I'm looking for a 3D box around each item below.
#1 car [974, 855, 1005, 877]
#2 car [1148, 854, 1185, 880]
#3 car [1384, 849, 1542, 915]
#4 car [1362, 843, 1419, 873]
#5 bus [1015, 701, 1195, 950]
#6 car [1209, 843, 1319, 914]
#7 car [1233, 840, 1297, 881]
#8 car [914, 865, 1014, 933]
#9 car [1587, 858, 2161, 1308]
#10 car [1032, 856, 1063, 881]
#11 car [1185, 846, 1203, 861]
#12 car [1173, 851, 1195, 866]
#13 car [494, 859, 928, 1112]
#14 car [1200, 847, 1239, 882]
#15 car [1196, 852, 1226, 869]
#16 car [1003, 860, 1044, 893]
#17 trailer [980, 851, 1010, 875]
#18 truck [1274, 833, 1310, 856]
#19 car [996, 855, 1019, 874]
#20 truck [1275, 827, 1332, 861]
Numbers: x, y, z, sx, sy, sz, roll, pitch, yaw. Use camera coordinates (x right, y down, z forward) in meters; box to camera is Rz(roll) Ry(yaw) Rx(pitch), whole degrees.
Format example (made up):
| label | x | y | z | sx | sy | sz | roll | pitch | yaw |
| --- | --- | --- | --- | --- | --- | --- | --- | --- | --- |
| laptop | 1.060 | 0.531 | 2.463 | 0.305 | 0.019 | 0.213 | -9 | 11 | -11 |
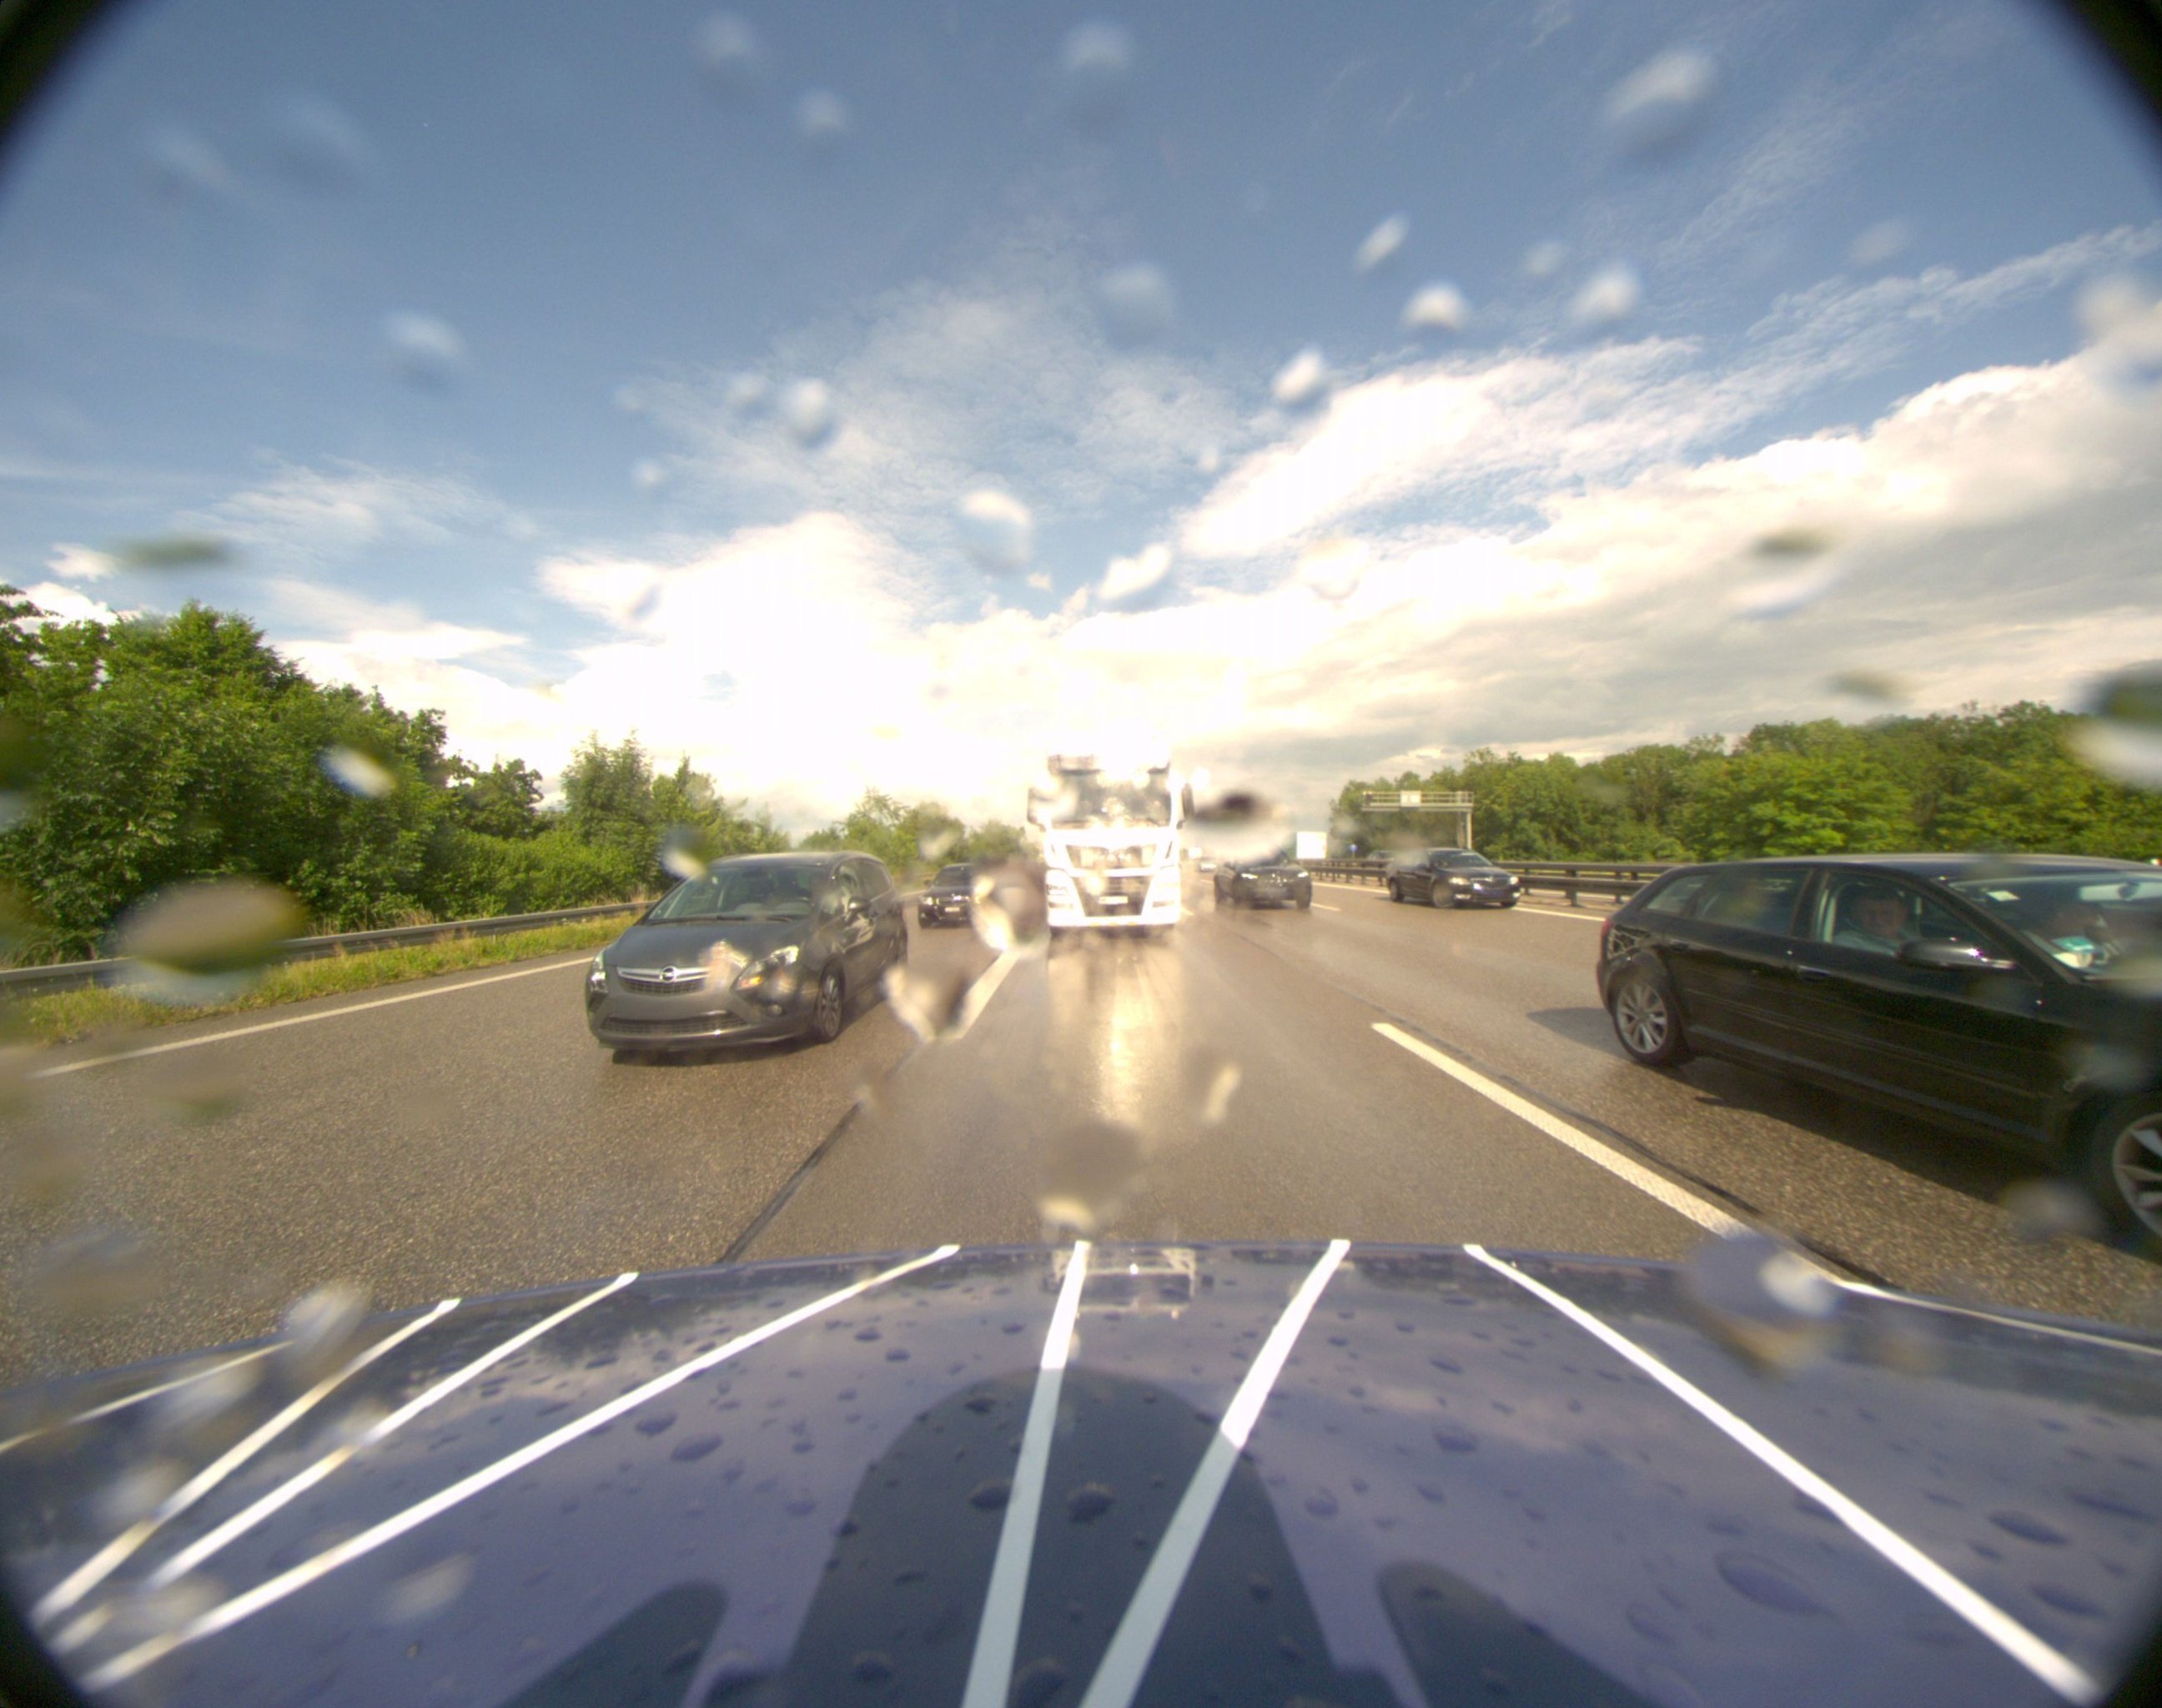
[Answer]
| label | x | y | z | sx | sy | sz | roll | pitch | yaw |
| --- | --- | --- | --- | --- | --- | --- | --- | --- | --- |
| car | -6.562 | 0.824 | 54.810 | 1.748 | 1.422 | 4.403 | -2 | 0 | -2 |
| car | 5.085 | 0.743 | 45.508 | 1.809 | 1.389 | 4.240 | -1 | 0 | 1 |
| car | 9.354 | 0.614 | 19.042 | 1.924 | 1.416 | 4.373 | -2 | 0 | 3 |
| car | 17.018 | 0.208 | 41.946 | 1.824 | 1.565 | 3.316 | -2 | 0 | 1 |
| bus | 0.479 | -0.491 | 17.781 | 2.904 | 4.104 | 9.845 | -2 | 0 | 1 |
| car | 4.817 | 0.585 | 20.665 | 1.881 | 1.669 | 4.626 | -2 | 0 | 1 |
| car | 9.432 | 0.299 | 39.435 | 1.998 | 1.906 | 5.235 | -2 | 0 | 0 |
| car | -2.689 | 1.003 | 18.298 | 1.722 | 1.346 | 3.884 | -2 | 0 | 1 |
| car | 4.483 | 0.772 | 3.428 | 1.754 | 1.425 | 4.054 | -2 | 0 | 1 |
| car | -2.150 | 0.906 | 49.336 | 1.858 | 1.434 | 3.999 | -2 | 0 | -1 |
| car | 19.506 | -0.101 | 131.078 | 2.119 | 2.382 | 6.102 | -2 | 0 | 0 |
| car | 10.156 | 0.392 | 75.116 | 1.618 | 1.412 | 4.000 | -2 | 0 | 1 |
| car | -2.998 | 0.919 | 7.539 | 1.858 | 1.622 | 4.736 | -2 | 0 | 1 |
| car | 6.809 | 0.494 | 37.630 | 1.409 | 1.588 | 2.830 | -2 | 0 | 1 |
| car | 10.146 | 0.480 | 59.434 | 1.857 | 1.182 | 3.583 | -2 | 0 | 2 |
| car | -2.619 | 0.998 | 35.290 | 1.744 | 1.357 | 3.999 | -2 | 0 | -3 |
| trailer | -6.640 | 0.686 | 59.010 | 1.810 | 1.736 | 3.967 | -3 | 0 | -1 |
| truck | 26.873 | -1.236 | 97.261 | 2.345 | 2.710 | 8.722 | -2 | 1 | 2 |
| car | -6.162 | 0.887 | 63.823 | 1.616 | 1.480 | 3.480 | -2 | 0 | -1 |
| truck | 21.252 | -0.935 | 73.157 | 2.923 | 2.970 | 8.721 | -2 | 1 | 0 |
